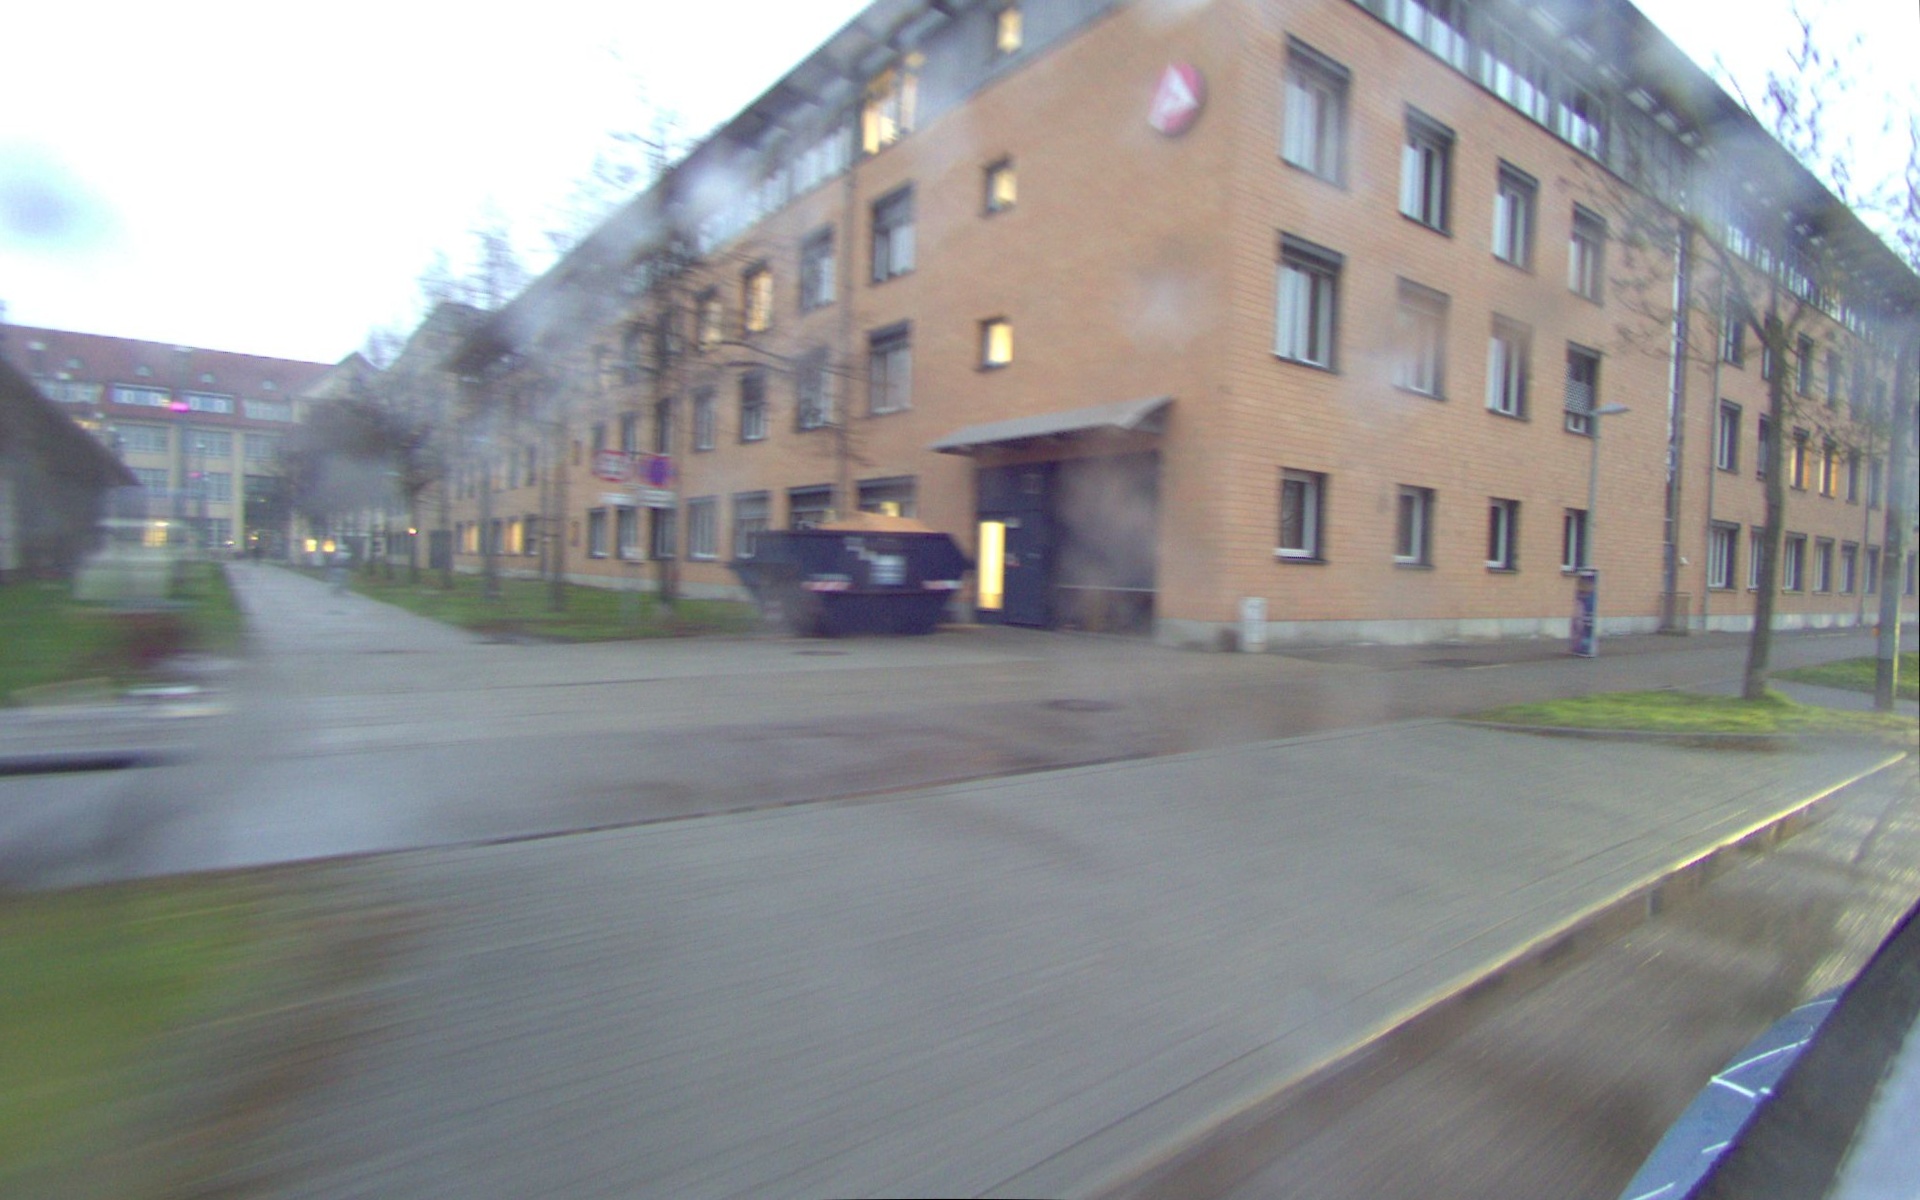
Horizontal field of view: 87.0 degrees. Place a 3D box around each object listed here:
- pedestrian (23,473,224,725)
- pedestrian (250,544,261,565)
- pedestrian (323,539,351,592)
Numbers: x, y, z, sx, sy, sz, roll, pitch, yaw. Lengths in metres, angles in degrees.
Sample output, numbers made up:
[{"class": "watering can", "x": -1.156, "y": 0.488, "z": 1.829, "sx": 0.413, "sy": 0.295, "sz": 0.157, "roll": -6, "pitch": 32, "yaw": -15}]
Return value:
[{"class": "pedestrian", "x": -5.867, "y": -0.018, "z": 7.137, "sx": 1.048, "sy": 1.630, "sz": 0.622, "roll": 0, "pitch": 2, "yaw": -41}, {"class": "pedestrian", "x": -56.966, "y": -3.680, "z": 81.809, "sx": 0.719, "sy": 1.656, "sz": 0.713, "roll": 0, "pitch": 2, "yaw": -36}, {"class": "pedestrian", "x": -19.733, "y": -1.098, "z": 32.061, "sx": 0.719, "sy": 1.656, "sz": 0.713, "roll": 1, "pitch": 2, "yaw": -34}]
